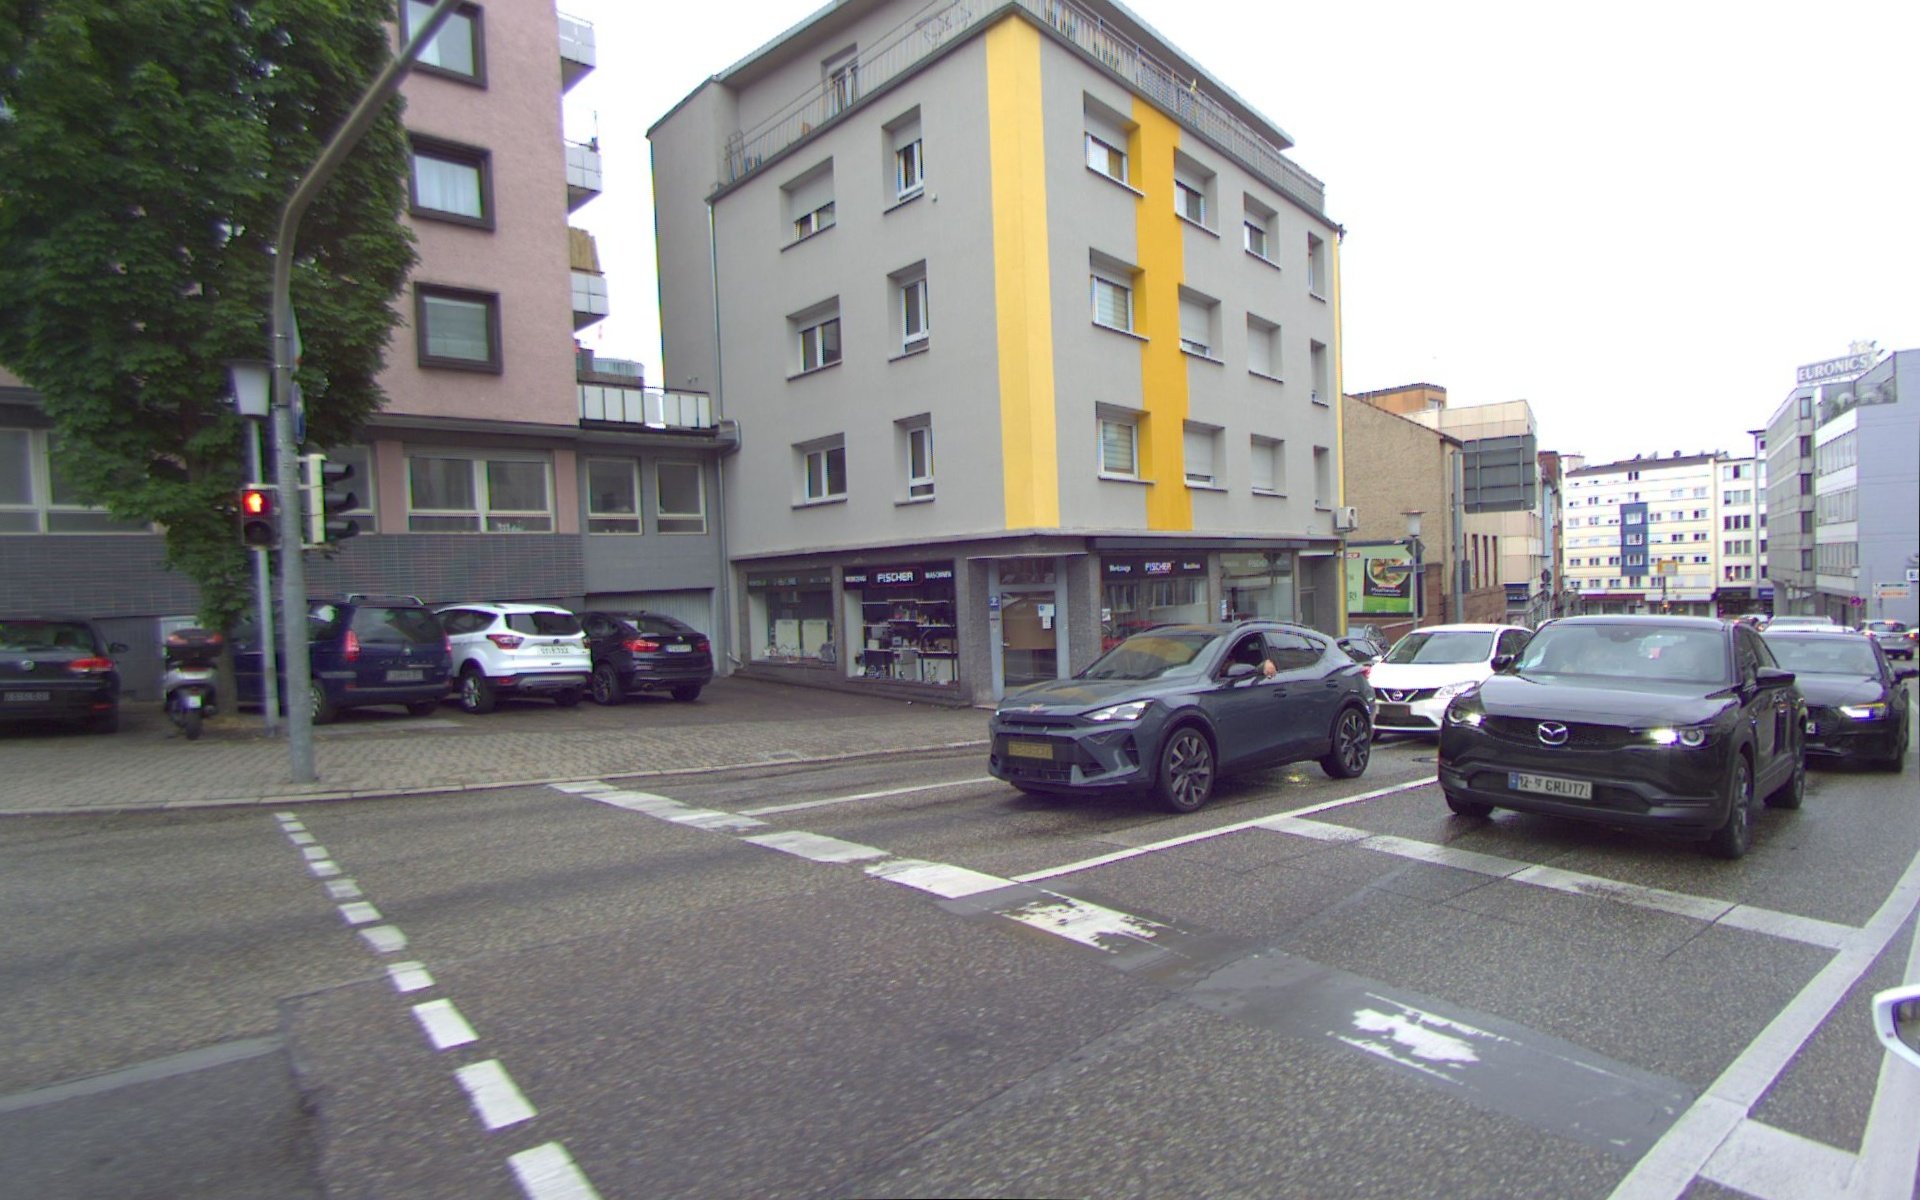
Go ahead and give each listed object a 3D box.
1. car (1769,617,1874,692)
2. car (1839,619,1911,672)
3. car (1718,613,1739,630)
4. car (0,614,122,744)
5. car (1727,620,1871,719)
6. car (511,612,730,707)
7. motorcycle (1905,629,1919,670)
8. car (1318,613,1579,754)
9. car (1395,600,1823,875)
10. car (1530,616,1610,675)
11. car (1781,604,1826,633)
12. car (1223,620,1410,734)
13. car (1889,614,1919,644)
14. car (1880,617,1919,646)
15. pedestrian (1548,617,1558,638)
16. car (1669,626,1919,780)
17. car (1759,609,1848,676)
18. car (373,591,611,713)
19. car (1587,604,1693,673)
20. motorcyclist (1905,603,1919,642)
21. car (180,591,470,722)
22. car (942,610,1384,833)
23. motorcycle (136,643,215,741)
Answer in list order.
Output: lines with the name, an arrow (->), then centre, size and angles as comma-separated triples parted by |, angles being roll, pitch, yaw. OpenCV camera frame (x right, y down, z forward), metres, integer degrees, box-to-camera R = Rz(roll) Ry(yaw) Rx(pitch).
car -> 20.003, 1.211, 23.323 | 1.679, 1.500, 4.268 | 2, 0, 41
car -> 37.878, 1.845, 41.663 | 1.730, 1.804, 3.562 | 0, 4, 35
car -> 73.736, 2.069, 96.367 | 1.502, 1.569, 3.096 | 0, 0, 35
car -> -12.129, 0.922, 13.089 | 1.725, 1.378, 3.950 | 1, 1, -42
car -> 15.071, 1.146, 18.012 | 1.786, 1.541, 4.538 | -1, -2, 41
car -> -6.237, 1.019, 18.328 | 3.935, 1.516, 1.855 | 0, -2, 36
motorcycle -> 30.135, 1.559, 31.105 | 0.856, 1.072, 2.928 | 0, 4, 35
car -> 6.844, 1.000, 13.855 | 4.346, 1.563, 1.790 | -1, 0, -43
car -> 5.244, 0.857, 7.851 | 4.347, 1.557, 1.802 | 3, -2, -43
car -> 20.608, 1.530, 33.878 | 1.707, 1.854, 4.042 | -3, -3, 39
car -> 48.130, 1.027, 57.346 | 1.500, 1.569, 3.100 | 0, 0, 31
car -> 6.178, 1.212, 17.210 | 1.715, 1.617, 3.756 | 0, 1, 42
car -> 55.439, 1.692, 56.719 | 3.919, 1.618, 1.800 | 2, -1, 15
car -> 53.196, 1.773, 54.863 | 3.919, 1.514, 1.734 | 2, -1, 15
pedestrian -> 48.258, 2.241, 81.778 | 0.729, 1.675, 0.604 | 0, 4, 31
car -> 9.726, 1.030, 11.586 | 4.350, 1.433, 1.789 | 2, -2, -44
car -> 24.273, 1.185, 28.994 | 1.785, 1.727, 4.541 | 2, 0, 39
car -> -7.879, 0.827, 16.842 | 3.933, 1.817, 1.856 | -1, -2, 34
car -> 16.659, 0.938, 24.541 | 1.720, 1.535, 4.112 | -3, -3, 40
motorcyclist -> 30.177, 0.708, 31.124 | 0.856, 1.072, 2.928 | 0, 4, 35
car -> -9.648, 0.779, 15.214 | 4.266, 1.751, 1.771 | 0, -2, 28
car -> 2.047, 0.881, 9.249 | 4.346, 1.497, 1.802 | -1, 0, -43
motorcycle -> -9.639, 1.092, 12.320 | 1.768, 1.046, 0.451 | 1, 1, 42
